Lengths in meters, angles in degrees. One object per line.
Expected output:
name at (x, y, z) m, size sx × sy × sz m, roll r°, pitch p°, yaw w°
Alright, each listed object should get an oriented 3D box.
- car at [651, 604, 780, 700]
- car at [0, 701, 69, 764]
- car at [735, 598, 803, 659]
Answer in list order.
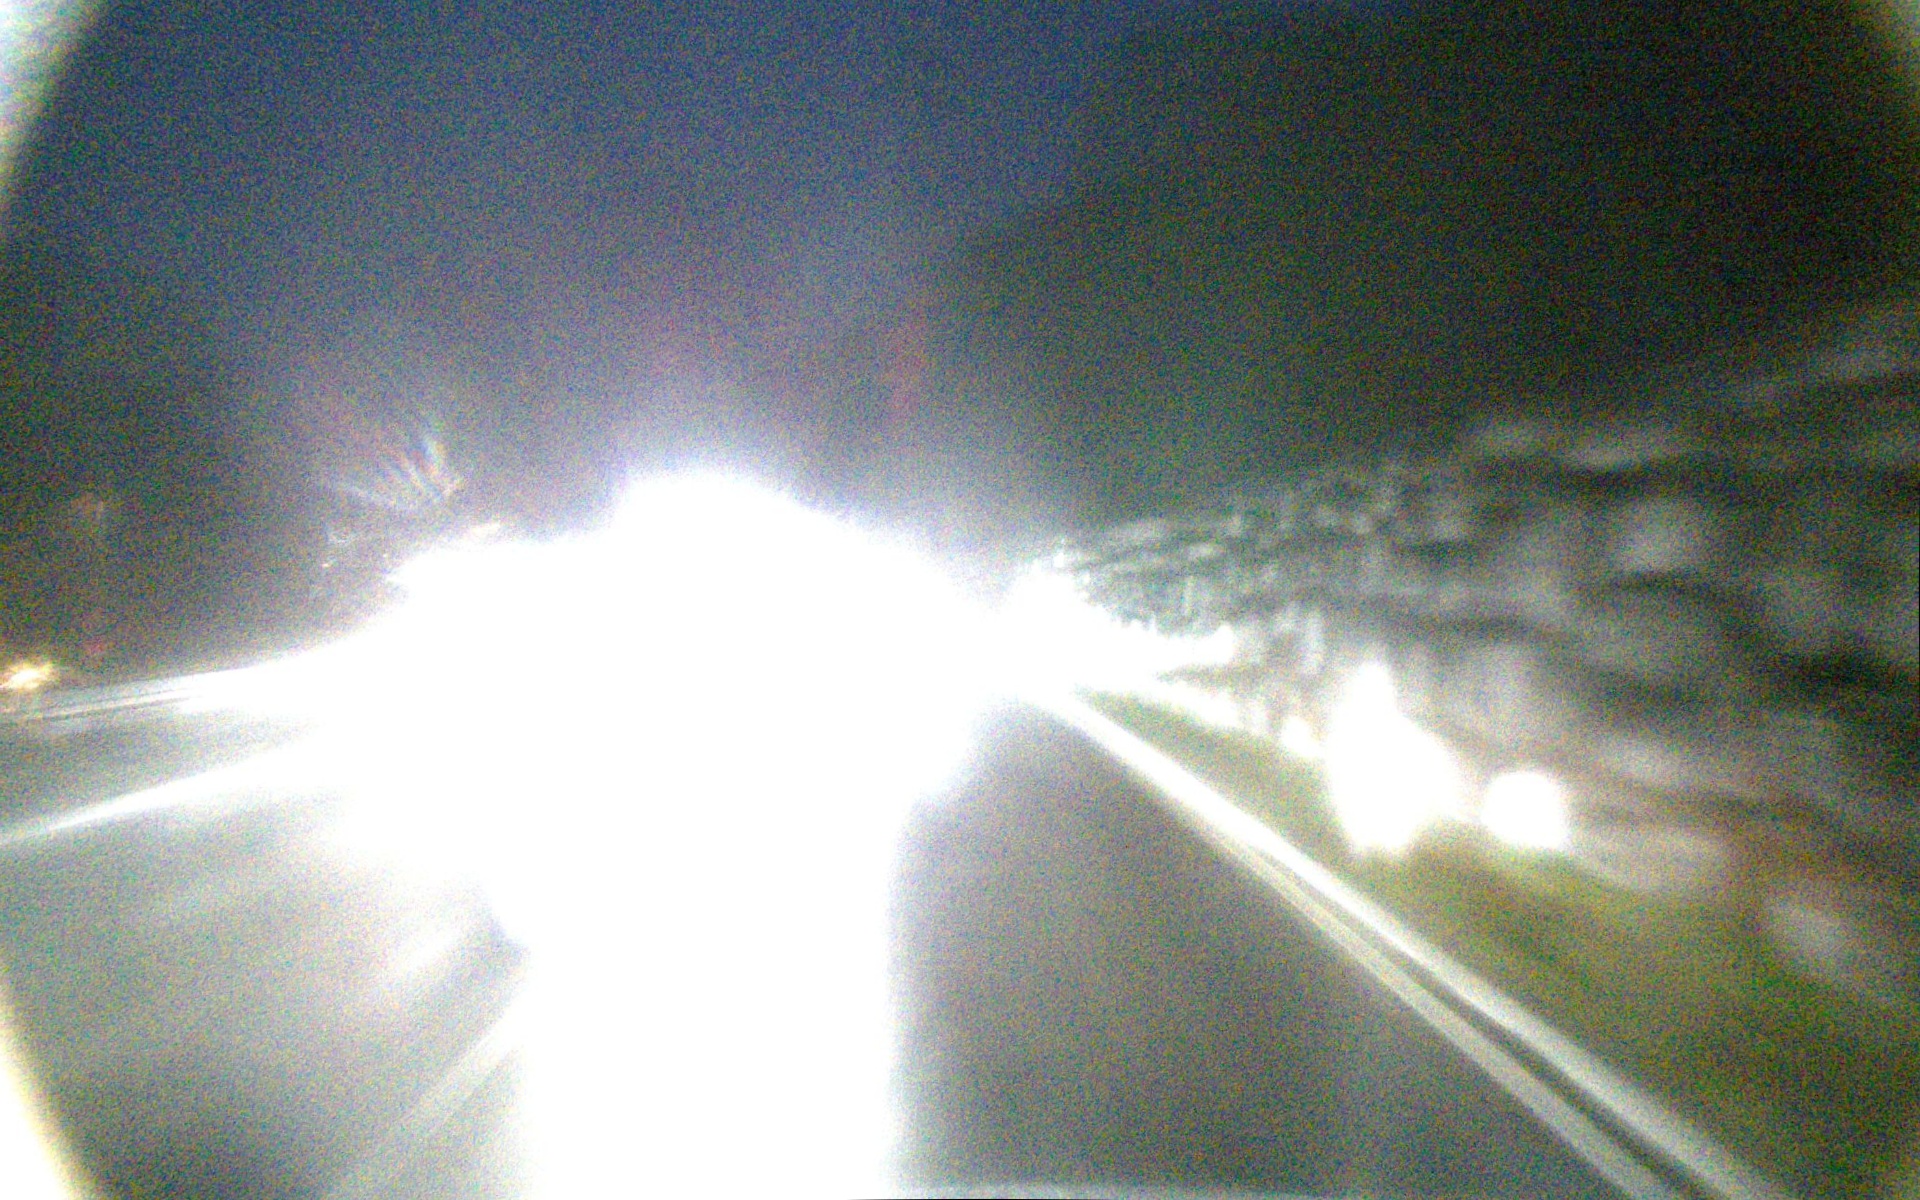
car at (-4.069, 0.830, 28.010) m, size 1.750 × 1.505 × 3.678 m, roll 1°, pitch 0°, yaw -2°
car at (-29.427, 4.075, 51.322) m, size 1.775 × 1.597 × 4.284 m, roll 1°, pitch 0°, yaw -9°
car at (-5.619, 0.803, 49.029) m, size 1.772 × 1.705 × 4.289 m, roll 1°, pitch 0°, yaw -4°
